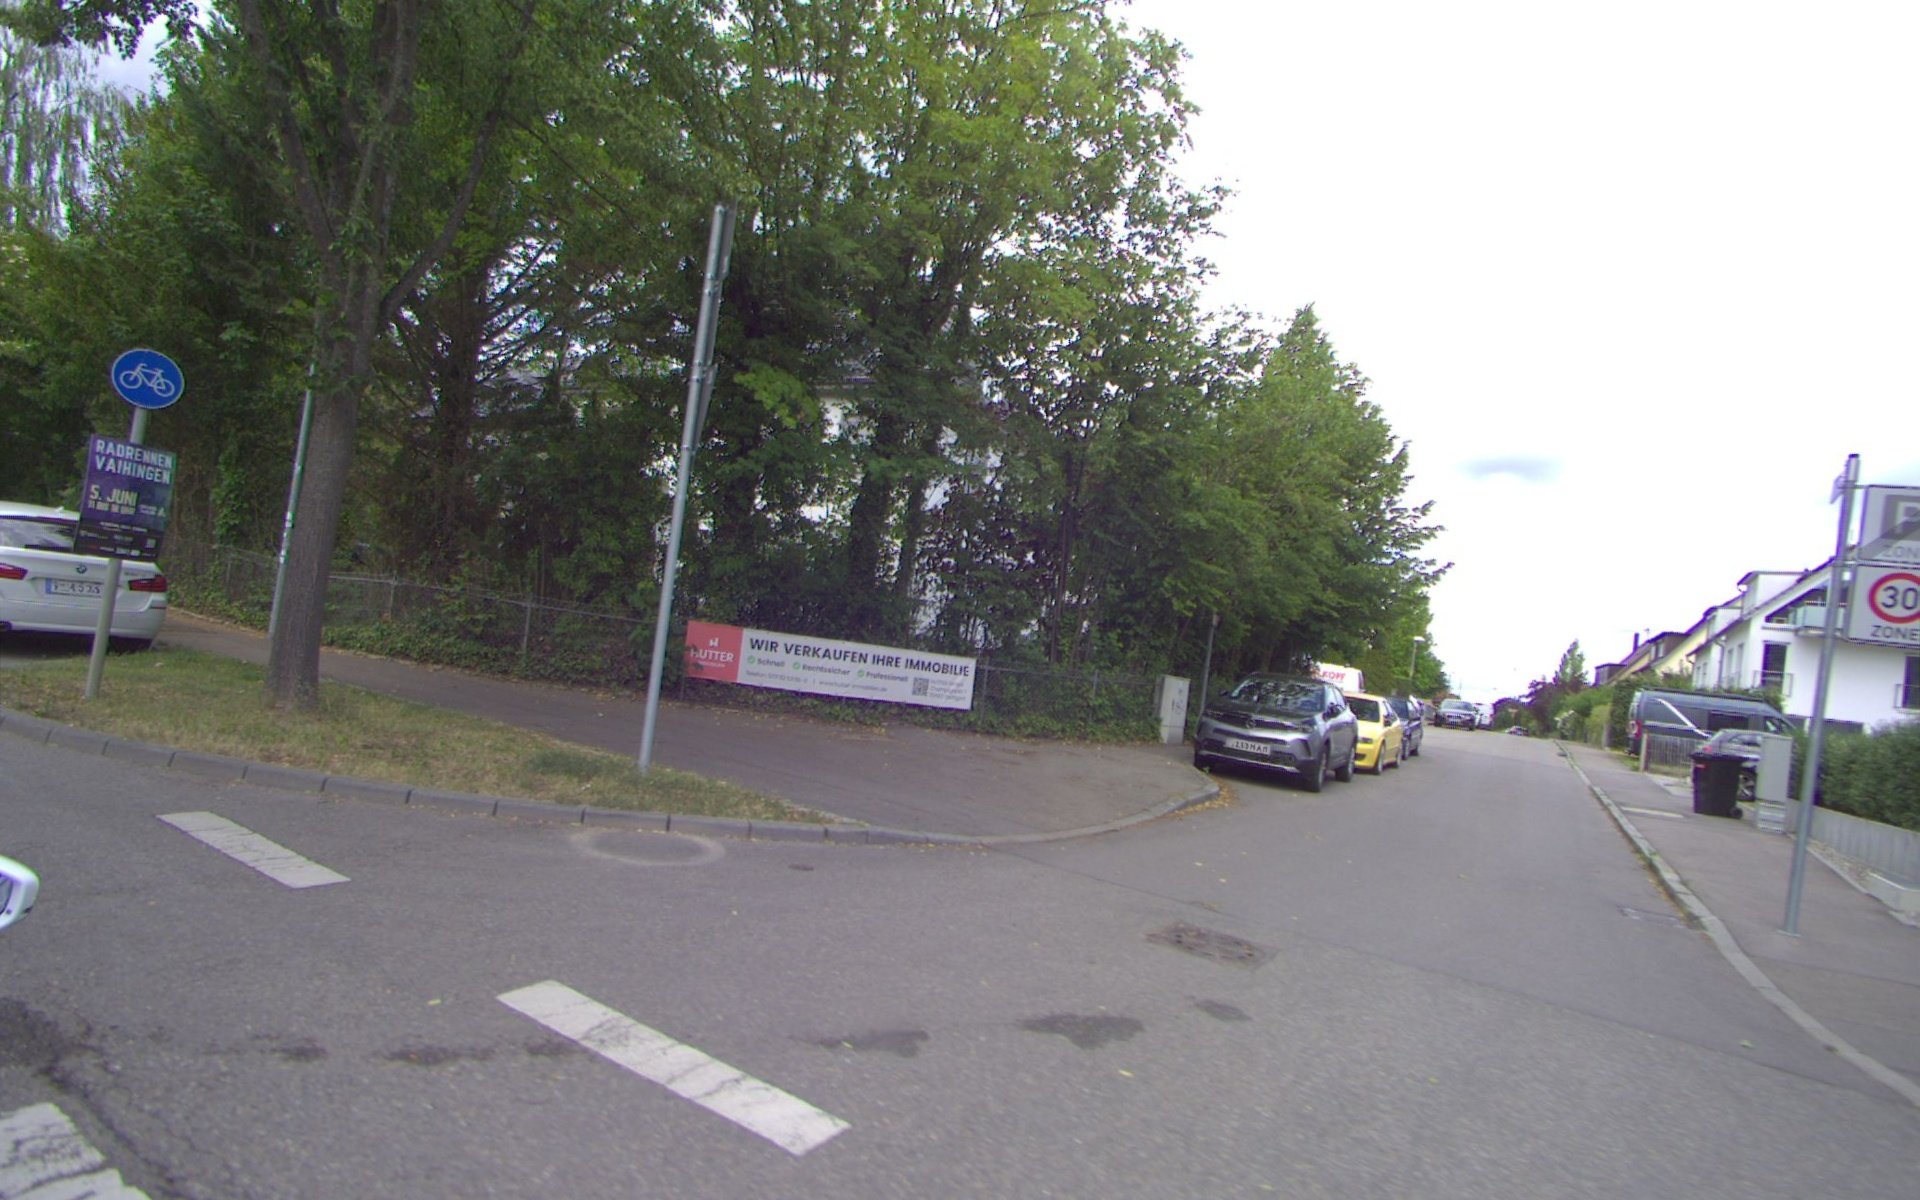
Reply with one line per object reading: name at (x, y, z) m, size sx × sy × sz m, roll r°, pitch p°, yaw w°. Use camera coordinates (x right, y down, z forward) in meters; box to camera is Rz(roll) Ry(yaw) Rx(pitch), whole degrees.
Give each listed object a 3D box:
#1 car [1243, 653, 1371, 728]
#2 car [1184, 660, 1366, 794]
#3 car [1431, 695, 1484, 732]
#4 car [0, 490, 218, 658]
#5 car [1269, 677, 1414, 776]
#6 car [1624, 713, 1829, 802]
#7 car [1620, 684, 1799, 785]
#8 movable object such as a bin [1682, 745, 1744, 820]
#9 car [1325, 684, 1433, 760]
car at (12.420, 3.227, 35.994) m, size 3.929 × 2.037 × 2.000 m, roll 7°, pitch -2°, yaw 27°
car at (4.838, 1.843, 15.063) m, size 1.762 × 1.476 × 3.998 m, roll 8°, pitch -2°, yaw 28°
car at (24.370, 5.538, 49.224) m, size 1.872 × 1.481 × 3.995 m, roll 7°, pitch -2°, yaw 31°
car at (-10.658, -0.454, 11.254) m, size 4.942 × 1.460 × 2.025 m, roll 7°, pitch -2°, yaw 32°
car at (7.456, 2.422, 19.430) m, size 1.764 × 1.433 × 3.995 m, roll 8°, pitch -2°, yaw 32°
car at (21.265, 4.323, 28.158) m, size 4.105 × 1.668 × 1.999 m, roll 7°, pitch -1°, yaw 28°
car at (24.342, 4.327, 32.895) m, size 4.173 × 2.538 × 1.999 m, roll 7°, pitch -1°, yaw 28°
movable object such as a bin at (12.760, 3.071, 17.070) m, size 0.717 × 1.105 × 0.974 m, roll 6°, pitch -2°, yaw 35°
car at (10.375, 2.987, 24.762) m, size 1.763 × 1.433 × 3.996 m, roll 8°, pitch -2°, yaw 31°
